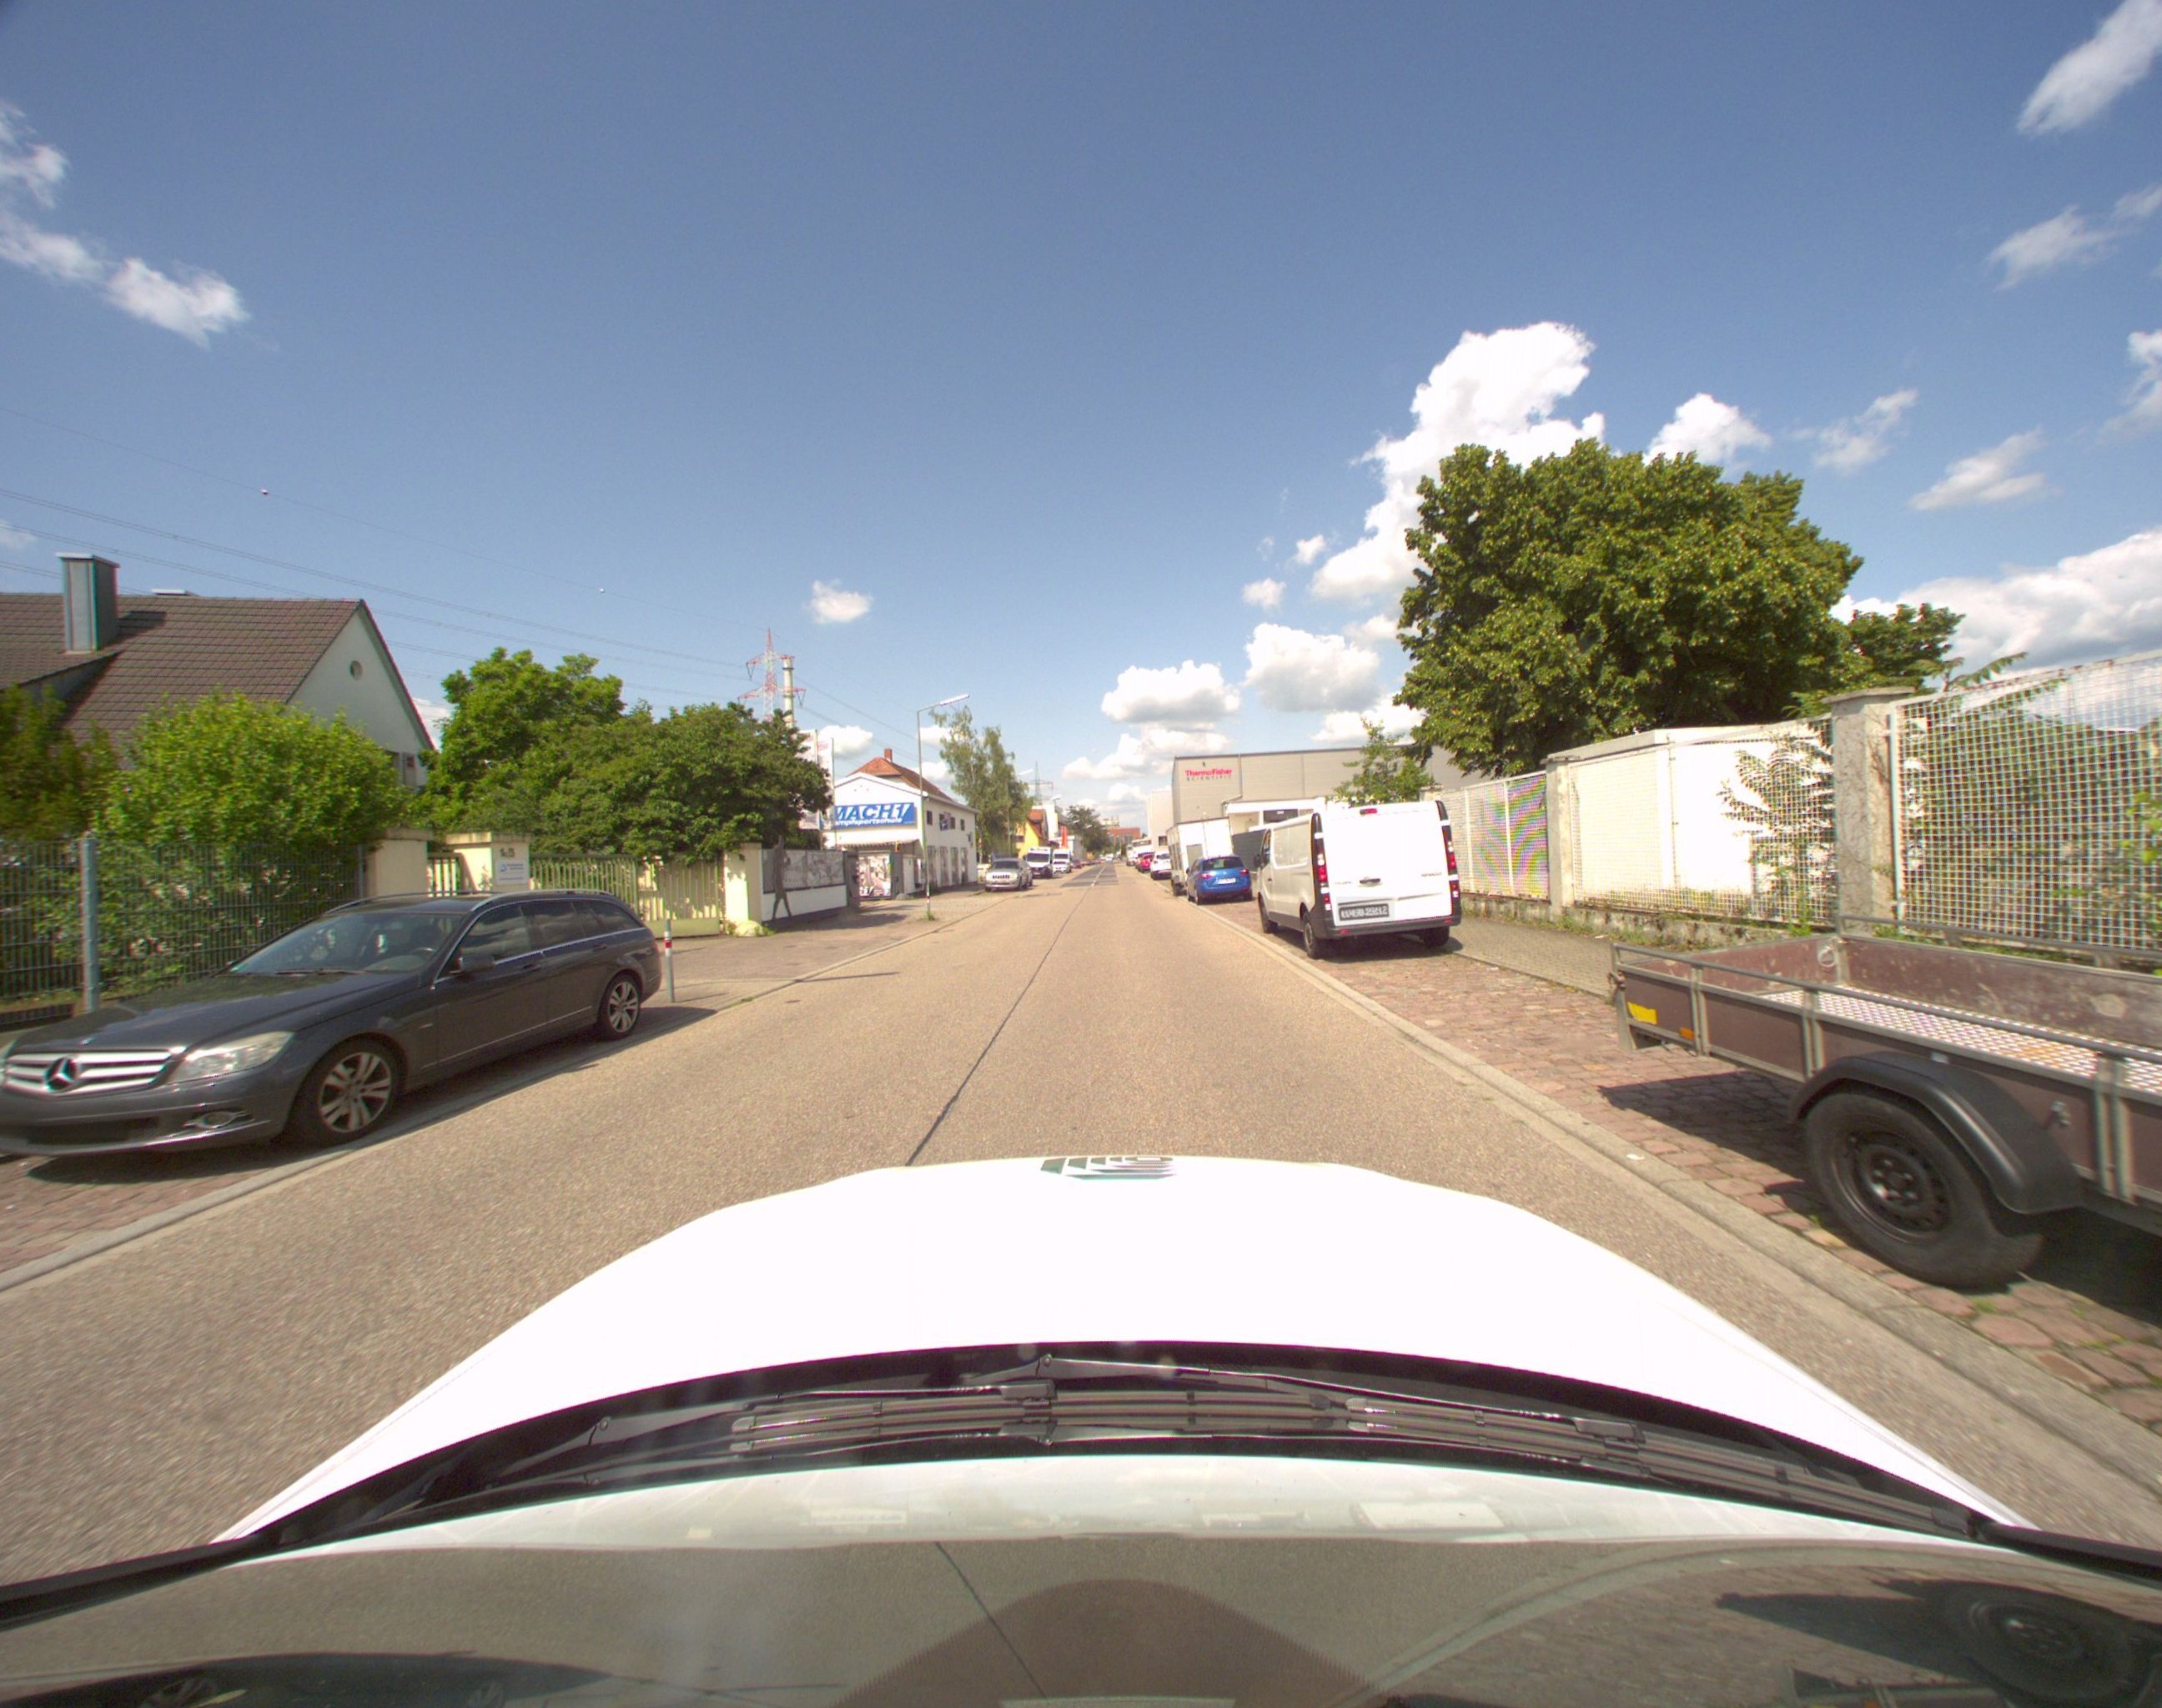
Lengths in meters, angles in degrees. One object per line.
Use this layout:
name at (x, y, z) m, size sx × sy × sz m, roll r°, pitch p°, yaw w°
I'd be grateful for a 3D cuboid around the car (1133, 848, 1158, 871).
car at (6.042, 0.513, 77.097) m, size 2.045 × 1.903 × 5.151 m, roll -6°, pitch -1°, yaw 3°

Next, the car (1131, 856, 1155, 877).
car at (5.200, 1.058, 68.942) m, size 1.698 × 1.624 × 4.094 m, roll -6°, pitch -1°, yaw 1°

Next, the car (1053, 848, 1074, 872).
car at (-2.009, 0.714, 93.155) m, size 2.019 × 2.561 × 6.841 m, roll -1°, pitch -1°, yaw 1°

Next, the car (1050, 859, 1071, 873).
car at (-2.104, 1.226, 85.877) m, size 1.788 × 1.397 × 4.505 m, roll -1°, pitch -1°, yaw 3°

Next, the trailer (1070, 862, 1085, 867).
trailer at (-0.530, 1.854, 143.507) m, size 2.353 × 0.893 × 5.572 m, roll -1°, pitch -1°, yaw 2°

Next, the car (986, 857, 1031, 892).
car at (-3.824, 1.056, 43.420) m, size 1.784 × 1.719 × 4.754 m, roll 0°, pitch 0°, yaw 2°

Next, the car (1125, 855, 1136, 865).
car at (8.484, 1.031, 138.210) m, size 1.760 × 1.612 × 3.876 m, roll -3°, pitch -1°, yaw 3°

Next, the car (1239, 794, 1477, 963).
car at (4.031, 0.326, 13.079) m, size 1.986 × 2.013 × 5.652 m, roll -3°, pitch -1°, yaw 2°

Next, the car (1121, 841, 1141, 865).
car at (7.641, -0.093, 125.618) m, size 2.381 × 3.362 × 6.642 m, roll -5°, pitch -1°, yaw -1°

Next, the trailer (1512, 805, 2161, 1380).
trailer at (3.581, 0.580, 2.572) m, size 1.745 × 1.417 × 4.544 m, roll -6°, pitch -1°, yaw -3°

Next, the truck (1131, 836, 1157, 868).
truck at (7.267, -0.166, 94.595) m, size 2.449 × 3.293 × 6.822 m, roll -7°, pitch -1°, yaw 3°

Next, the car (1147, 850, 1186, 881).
car at (5.246, 0.675, 50.505) m, size 1.928 × 1.693 × 4.682 m, roll -5°, pitch 0°, yaw 2°

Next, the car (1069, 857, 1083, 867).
car at (-0.769, 1.263, 124.683) m, size 1.755 × 1.447 × 4.744 m, roll -1°, pitch -1°, yaw 3°

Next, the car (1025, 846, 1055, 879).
car at (-3.281, 0.694, 66.146) m, size 2.023 × 2.558 × 6.657 m, roll -1°, pitch -1°, yaw 1°

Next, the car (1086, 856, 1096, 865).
car at (2.226, 1.415, 180.043) m, size 1.984 × 2.014 × 4.005 m, roll -1°, pitch -1°, yaw 5°

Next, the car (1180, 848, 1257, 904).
car at (4.185, 0.669, 25.389) m, size 1.684 × 1.460 × 4.071 m, roll -5°, pitch -1°, yaw 1°

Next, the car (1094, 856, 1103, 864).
car at (4.342, 1.469, 203.487) m, size 1.913 × 1.794 × 4.005 m, roll -1°, pitch -1°, yaw 5°

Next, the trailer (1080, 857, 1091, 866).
trailer at (0.953, 1.512, 164.704) m, size 1.986 × 1.556 × 4.255 m, roll -2°, pitch 0°, yaw 2°

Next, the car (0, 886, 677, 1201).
car at (-5.225, 1.056, 6.382) m, size 1.799 × 1.418 × 4.497 m, roll -1°, pitch 0°, yaw 1°

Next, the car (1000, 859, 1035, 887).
car at (-3.723, 1.091, 48.385) m, size 1.602 × 1.574 × 3.012 m, roll 1°, pitch 0°, yaw 4°

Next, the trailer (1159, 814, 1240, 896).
trailer at (4.492, 0.074, 32.016) m, size 2.196 × 2.737 × 6.223 m, roll -6°, pitch -1°, yaw 2°
